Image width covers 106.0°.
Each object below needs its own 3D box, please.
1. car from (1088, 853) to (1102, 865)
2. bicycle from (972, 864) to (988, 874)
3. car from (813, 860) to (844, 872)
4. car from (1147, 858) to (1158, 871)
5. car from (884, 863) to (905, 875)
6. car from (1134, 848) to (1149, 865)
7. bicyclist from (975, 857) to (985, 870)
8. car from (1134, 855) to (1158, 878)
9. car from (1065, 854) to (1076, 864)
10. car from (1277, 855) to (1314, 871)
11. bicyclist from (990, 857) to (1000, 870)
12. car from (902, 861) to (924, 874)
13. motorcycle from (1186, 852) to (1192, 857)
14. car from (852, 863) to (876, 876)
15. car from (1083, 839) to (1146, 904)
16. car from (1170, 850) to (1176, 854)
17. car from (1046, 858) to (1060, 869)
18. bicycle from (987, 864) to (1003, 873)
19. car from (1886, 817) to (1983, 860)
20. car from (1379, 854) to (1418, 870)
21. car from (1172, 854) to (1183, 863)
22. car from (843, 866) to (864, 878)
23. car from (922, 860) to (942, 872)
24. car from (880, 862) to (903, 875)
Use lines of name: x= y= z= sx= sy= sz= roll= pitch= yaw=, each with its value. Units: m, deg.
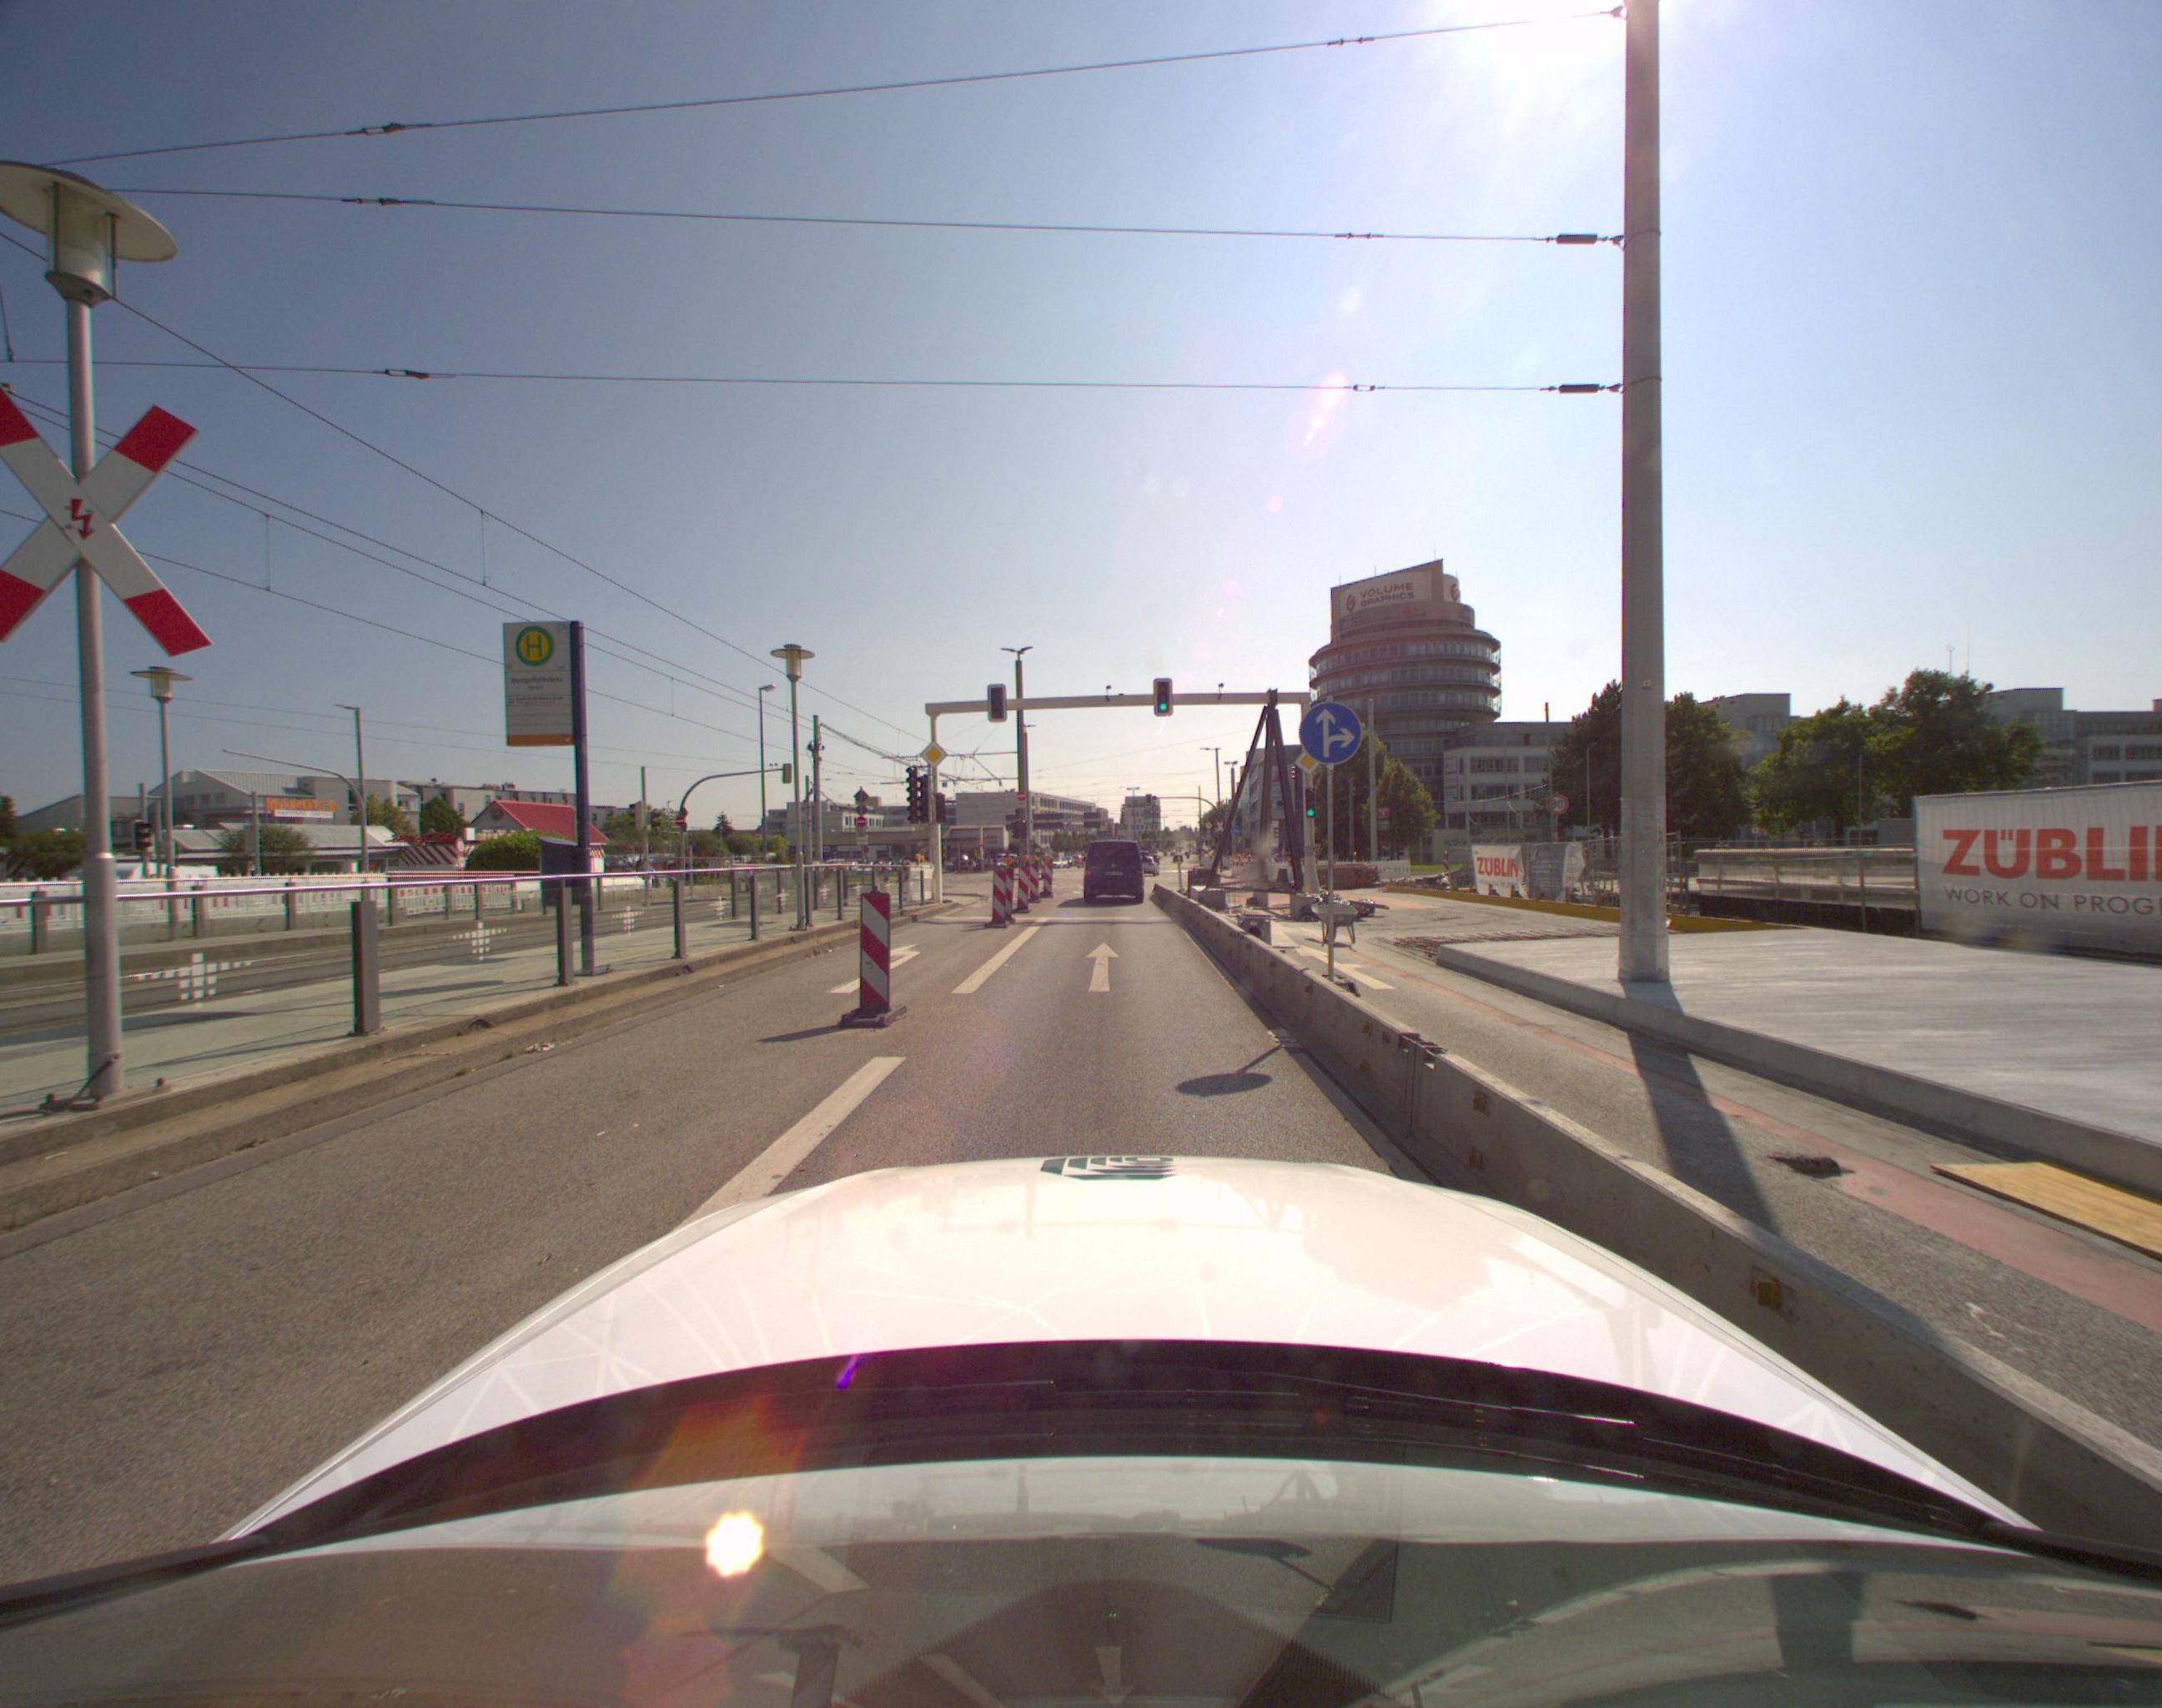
car: x=1.927 y=0.672 z=111.614 sx=1.741 sy=1.530 sz=3.999 roll=-2 pitch=0 yaw=0
bicycle: x=-12.362 y=1.837 z=99.951 sx=0.874 sy=1.069 sz=2.819 roll=3 pitch=0 yaw=16
car: x=-38.312 y=1.857 z=123.604 sx=4.022 sy=1.538 sz=1.762 roll=-3 pitch=0 yaw=-41
car: x=10.597 y=1.551 z=120.990 sx=1.638 sy=1.728 sz=3.721 roll=0 pitch=1 yaw=4
car: x=-26.494 y=2.151 z=115.788 sx=1.770 sy=1.538 sz=4.002 roll=-1 pitch=0 yaw=2
car: x=6.510 y=0.244 z=87.997 sx=1.638 sy=1.728 sz=4.004 roll=0 pitch=1 yaw=4
bicyclist: x=-12.358 y=1.180 z=99.840 sx=0.869 sy=1.578 sz=0.973 roll=3 pitch=0 yaw=16
car: x=4.897 y=0.943 z=61.411 sx=1.677 sy=1.606 sz=3.619 roll=0 pitch=1 yaw=2
car: x=-1.759 y=0.842 z=136.857 sx=1.741 sy=1.486 sz=3.999 roll=-2 pitch=0 yaw=0
car: x=24.373 y=0.987 z=92.460 sx=3.799 sy=1.797 sz=1.682 roll=0 pitch=1 yaw=1
bicyclist: x=-10.718 y=1.128 z=101.770 sx=0.869 sy=1.578 sz=0.973 roll=3 pitch=0 yaw=16
car: x=-21.864 y=1.713 z=106.178 sx=1.770 sy=1.538 sz=4.002 roll=-3 pitch=0 yaw=2
motorcycle: x=25.330 y=0.155 z=190.705 sx=1.155 sy=1.242 sz=3.015 roll=-1 pitch=0 yaw=9
car: x=-28.449 y=2.052 z=106.899 sx=1.770 sy=1.538 sz=4.002 roll=-3 pitch=0 yaw=2
car: x=1.163 y=0.473 z=26.452 sx=1.879 sy=1.934 sz=4.005 roll=0 pitch=1 yaw=4
car: x=27.620 y=-0.525 z=245.609 sx=1.542 sy=1.340 sz=3.015 roll=0 pitch=0 yaw=0
car: x=-3.917 y=1.271 z=113.629 sx=1.741 sy=1.481 sz=3.999 roll=-2 pitch=0 yaw=0
bicycle: x=-10.765 y=1.785 z=101.746 sx=0.874 sy=1.069 sz=2.819 roll=3 pitch=0 yaw=16
car: x=59.832 y=-1.102 z=57.125 sx=5.966 sy=2.886 sz=2.333 roll=0 pitch=1 yaw=-18
car: x=35.908 y=0.887 z=92.151 sx=3.799 sy=1.797 sz=1.682 roll=0 pitch=1 yaw=1
car: x=17.015 y=0.842 z=143.466 sx=1.735 sy=1.475 sz=3.893 roll=-1 pitch=0 yaw=7
car: x=-33.575 y=2.679 z=120.186 sx=1.770 sy=1.538 sz=4.002 roll=-3 pitch=0 yaw=2
car: x=-19.701 y=1.614 z=107.603 sx=1.770 sy=1.538 sz=4.002 roll=0 pitch=0 yaw=2
car: x=-24.757 y=1.895 z=106.525 sx=1.770 sy=1.538 sz=4.002 roll=-1 pitch=0 yaw=2
